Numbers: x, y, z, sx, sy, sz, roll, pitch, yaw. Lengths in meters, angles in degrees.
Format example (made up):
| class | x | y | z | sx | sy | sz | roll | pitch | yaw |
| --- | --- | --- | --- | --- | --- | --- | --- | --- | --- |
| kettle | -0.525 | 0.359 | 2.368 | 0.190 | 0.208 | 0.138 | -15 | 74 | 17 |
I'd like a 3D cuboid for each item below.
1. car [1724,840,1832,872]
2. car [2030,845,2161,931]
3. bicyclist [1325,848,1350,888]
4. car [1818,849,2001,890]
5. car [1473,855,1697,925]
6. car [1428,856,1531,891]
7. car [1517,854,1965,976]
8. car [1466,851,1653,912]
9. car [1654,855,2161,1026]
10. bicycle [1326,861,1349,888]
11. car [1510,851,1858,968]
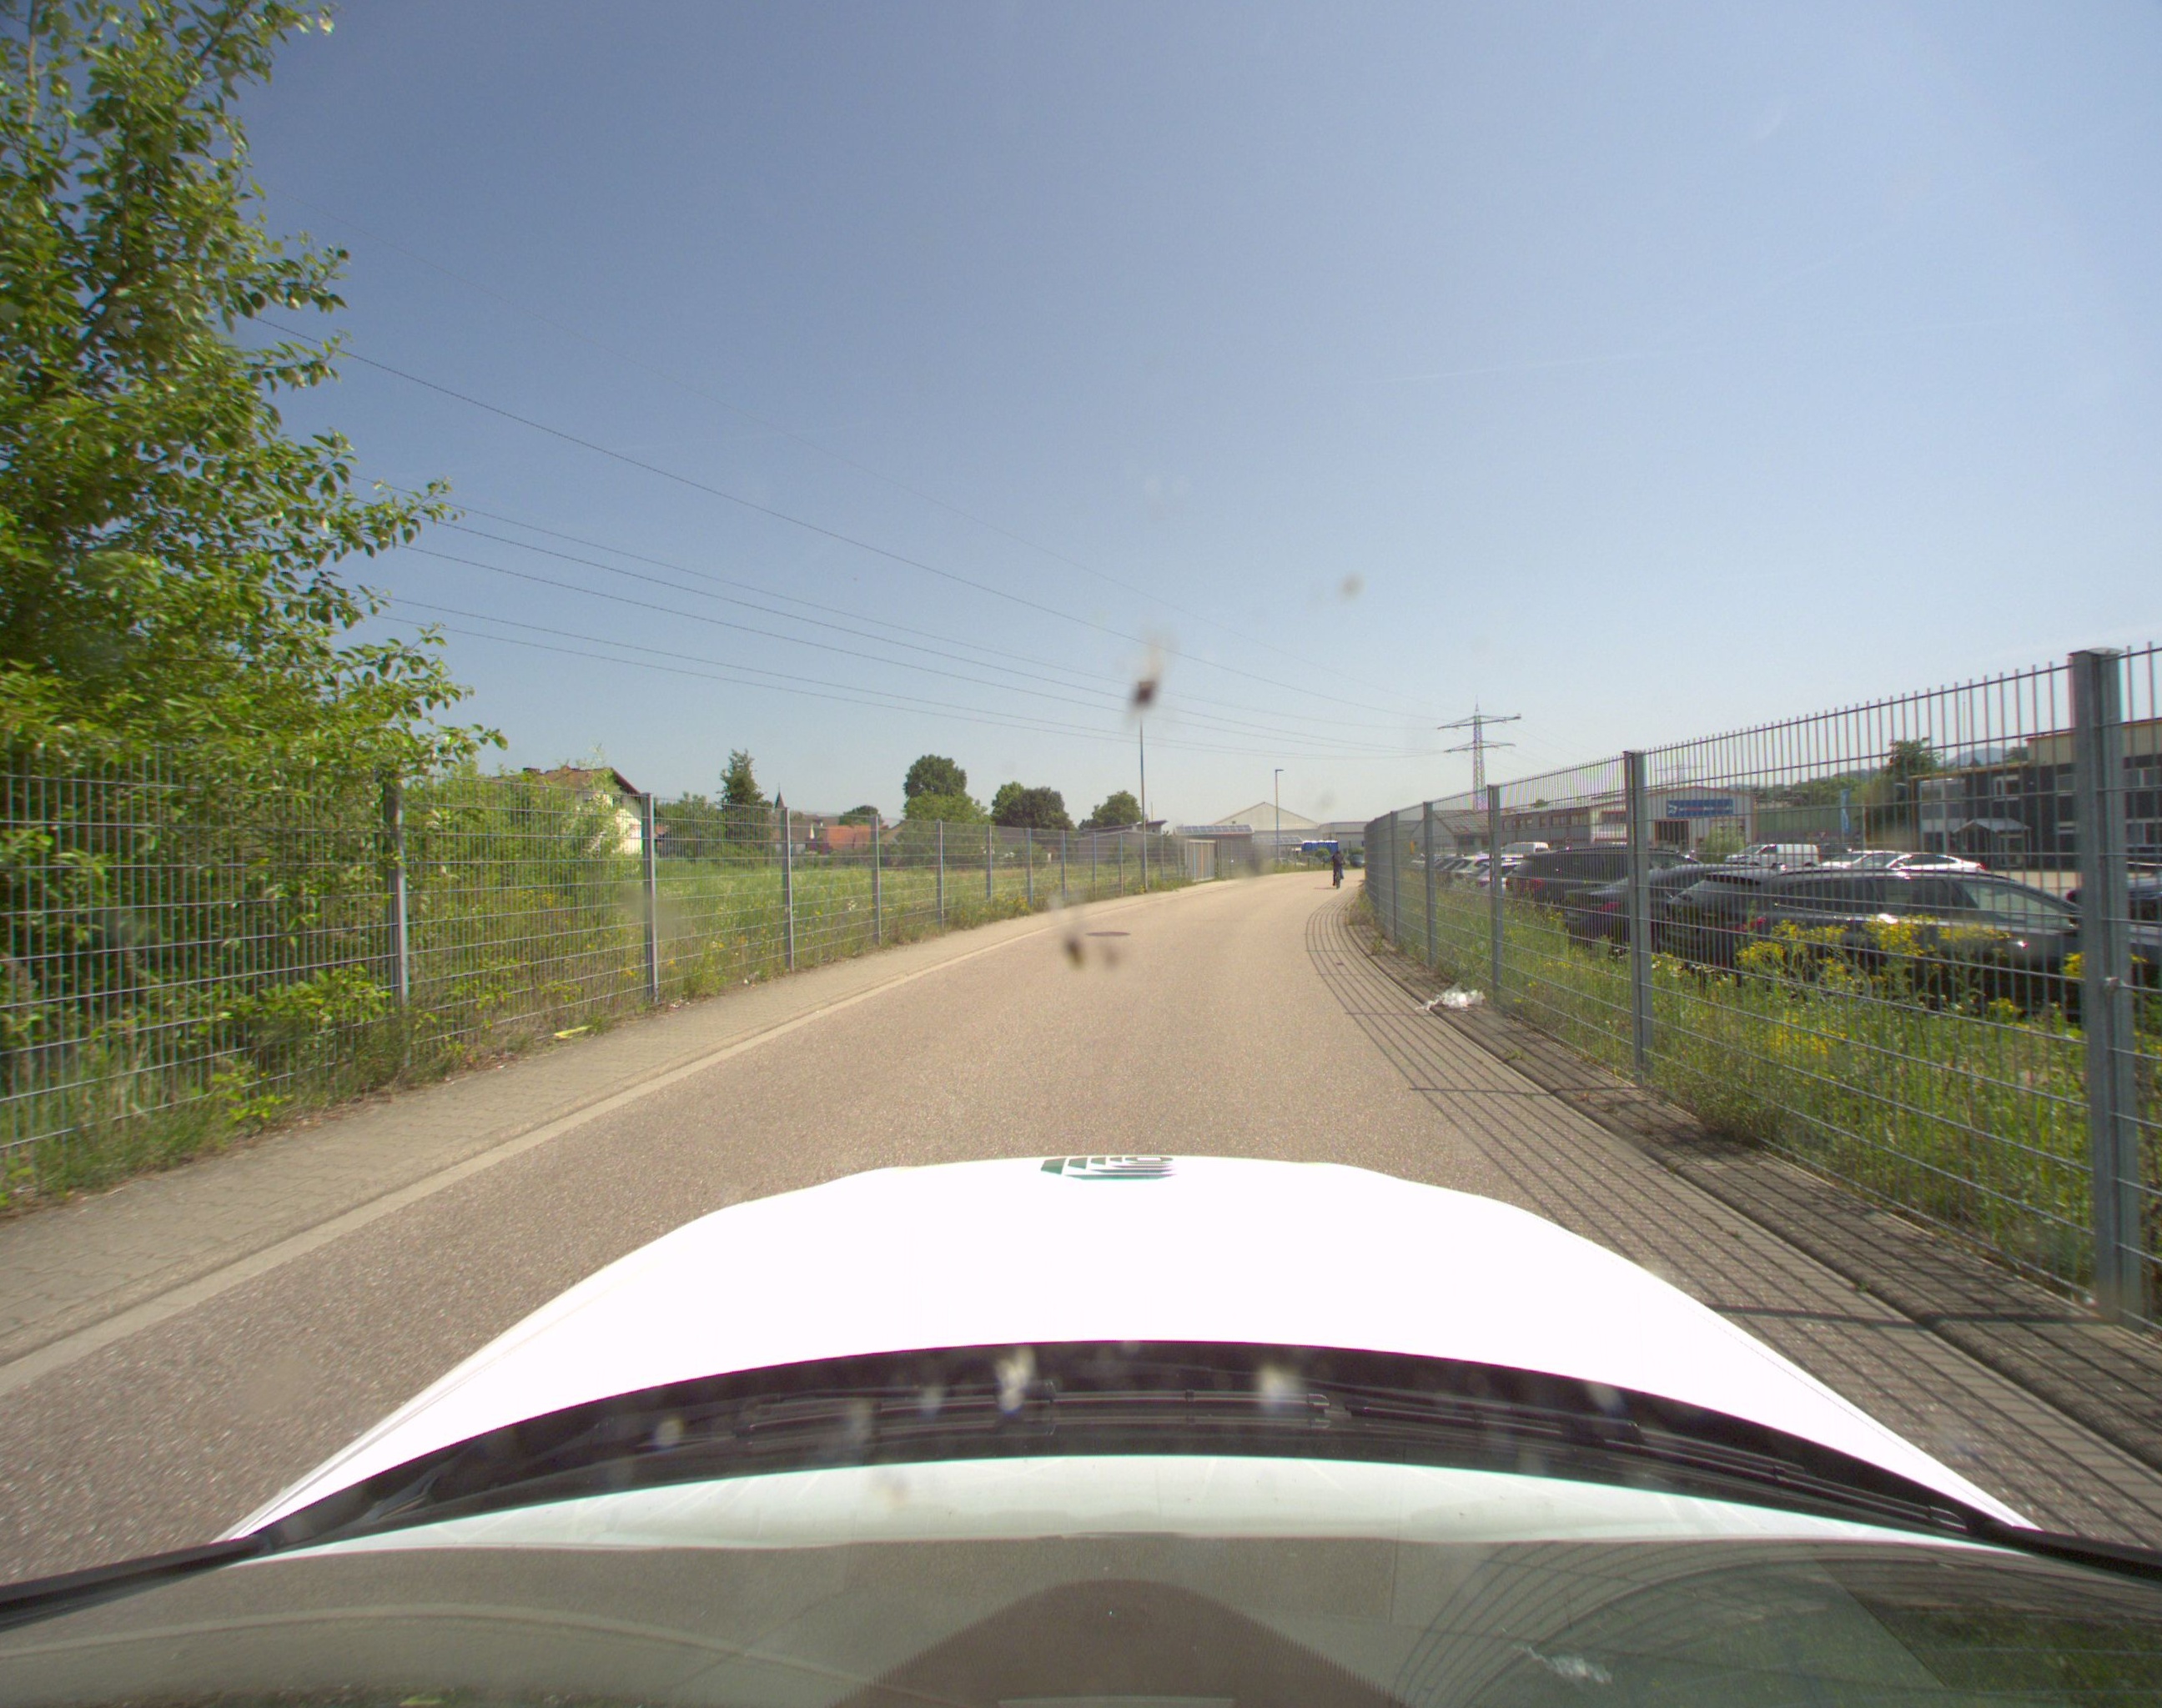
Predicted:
| class | x | y | z | sx | sy | sz | roll | pitch | yaw |
| --- | --- | --- | --- | --- | --- | --- | --- | --- | --- |
| car | 44.346 | 0.148 | 51.905 | 5.033 | 1.899 | 1.861 | -1 | -1 | 6 |
| car | 20.267 | 0.560 | 14.877 | 3.742 | 1.437 | 1.614 | -2 | 0 | 5 |
| bicyclist | 10.674 | 0.562 | 33.875 | 0.835 | 1.618 | 1.045 | 0 | 1 | 25 |
| car | 29.043 | 0.542 | 28.651 | 4.485 | 1.351 | 1.630 | -1 | -1 | 6 |
| car | 11.705 | 0.781 | 19.255 | 4.176 | 1.406 | 1.847 | 2 | 0 | 19 |
| car | 18.682 | 0.902 | 38.337 | 4.131 | 1.474 | 1.645 | 2 | 0 | 18 |
| car | 8.338 | 0.756 | 10.789 | 4.246 | 1.378 | 1.773 | -2 | 0 | 17 |
| car | 12.771 | 0.696 | 22.059 | 4.172 | 1.406 | 1.849 | 2 | 0 | 25 |
| car | 8.408 | 0.777 | 7.892 | 4.311 | 1.378 | 1.771 | -2 | 0 | 11 |
| bicycle | 10.681 | 0.837 | 33.897 | 0.679 | 1.051 | 1.912 | 0 | 0 | 25 |
| car | 9.446 | 0.838 | 13.238 | 4.242 | 1.637 | 1.775 | -2 | 0 | 24 |
